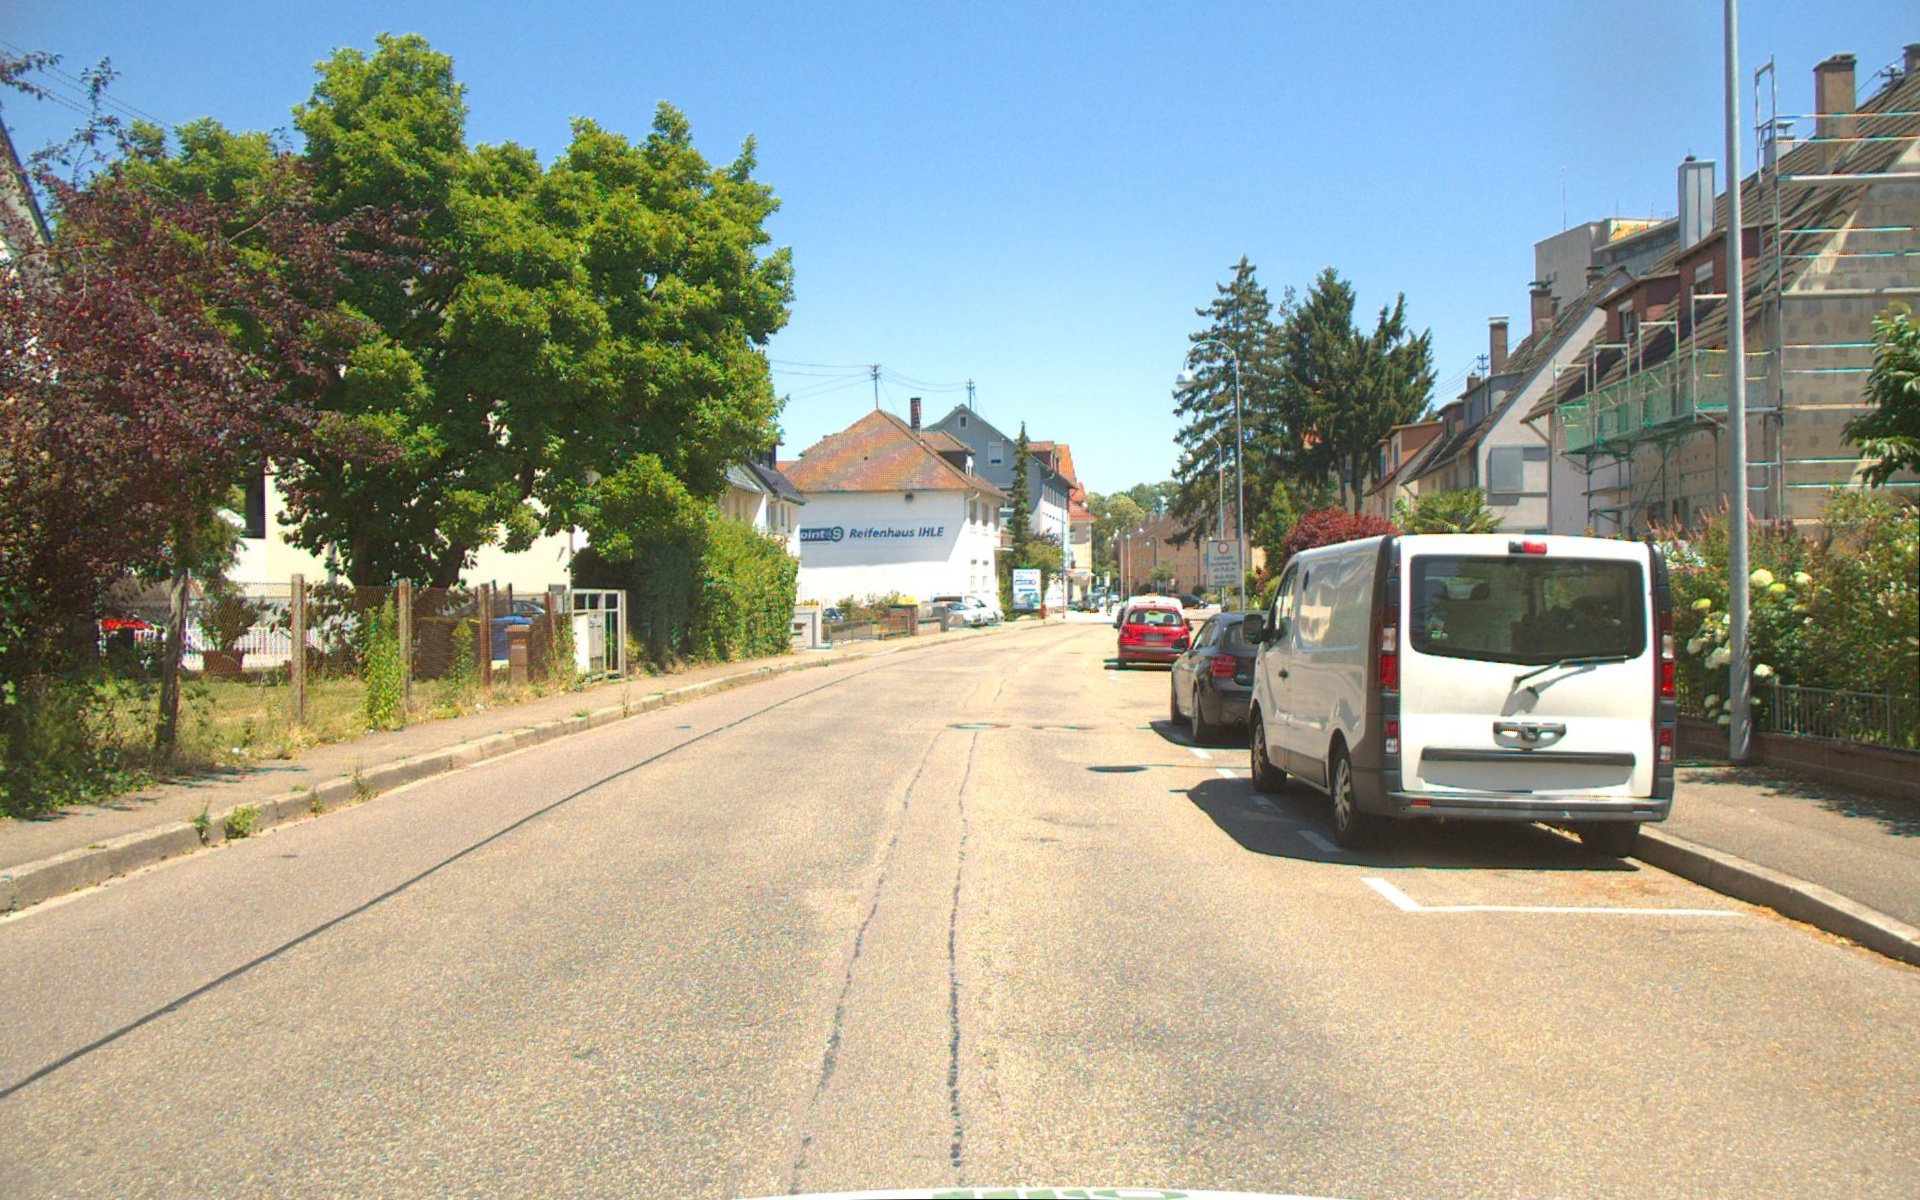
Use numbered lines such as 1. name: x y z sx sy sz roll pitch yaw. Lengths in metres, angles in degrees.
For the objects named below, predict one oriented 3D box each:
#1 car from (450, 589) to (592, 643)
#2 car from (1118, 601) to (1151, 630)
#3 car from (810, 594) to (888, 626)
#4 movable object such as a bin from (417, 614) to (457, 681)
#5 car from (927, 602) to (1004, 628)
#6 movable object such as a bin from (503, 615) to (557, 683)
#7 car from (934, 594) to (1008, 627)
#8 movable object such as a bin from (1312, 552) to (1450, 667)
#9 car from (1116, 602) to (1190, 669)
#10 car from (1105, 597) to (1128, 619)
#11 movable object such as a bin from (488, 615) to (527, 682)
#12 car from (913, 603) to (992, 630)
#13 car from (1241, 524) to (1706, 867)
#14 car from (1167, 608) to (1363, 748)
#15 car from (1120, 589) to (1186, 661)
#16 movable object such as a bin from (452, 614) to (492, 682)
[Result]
1. car: -13.499 0.488 51.033 3.908 1.537 1.799 1 0 -4
2. car: 9.769 0.868 92.245 1.756 1.537 4.003 1 -1 7
3. car: -5.635 0.496 83.792 3.933 1.536 1.787 1 1 45
4. movable object such as a bin: -8.145 0.735 25.764 0.457 1.027 0.506 0 0 1
5. car: 0.334 0.824 91.785 4.041 1.419 1.830 0 0 7
6. movable object such as a bin: -6.514 0.736 25.080 0.693 1.014 0.474 0 0 -1
7. car: 0.650 0.604 94.060 4.042 1.805 1.829 0 0 4
8. movable object such as a bin: 10.520 0.234 41.466 3.079 2.795 1.708 0 0 3
9. car: 4.554 0.795 39.449 1.628 1.480 4.002 1 0 5
10. car: 12.776 0.632 134.678 1.720 1.685 4.003 0 0 8
11. movable object such as a bin: -7.031 0.751 25.702 0.457 1.027 0.506 0 0 1
12. car: -0.427 0.876 88.892 4.069 1.367 1.899 0 0 43
13. car: 3.341 0.543 11.825 1.864 1.958 4.718 0 0 0
14. car: 3.394 0.812 19.031 1.622 1.422 4.001 0 0 2
15. car: 5.178 0.666 44.477 1.628 1.786 4.002 2 -1 6
16. movable object such as a bin: -7.590 0.741 25.720 0.457 1.027 0.506 0 0 1
